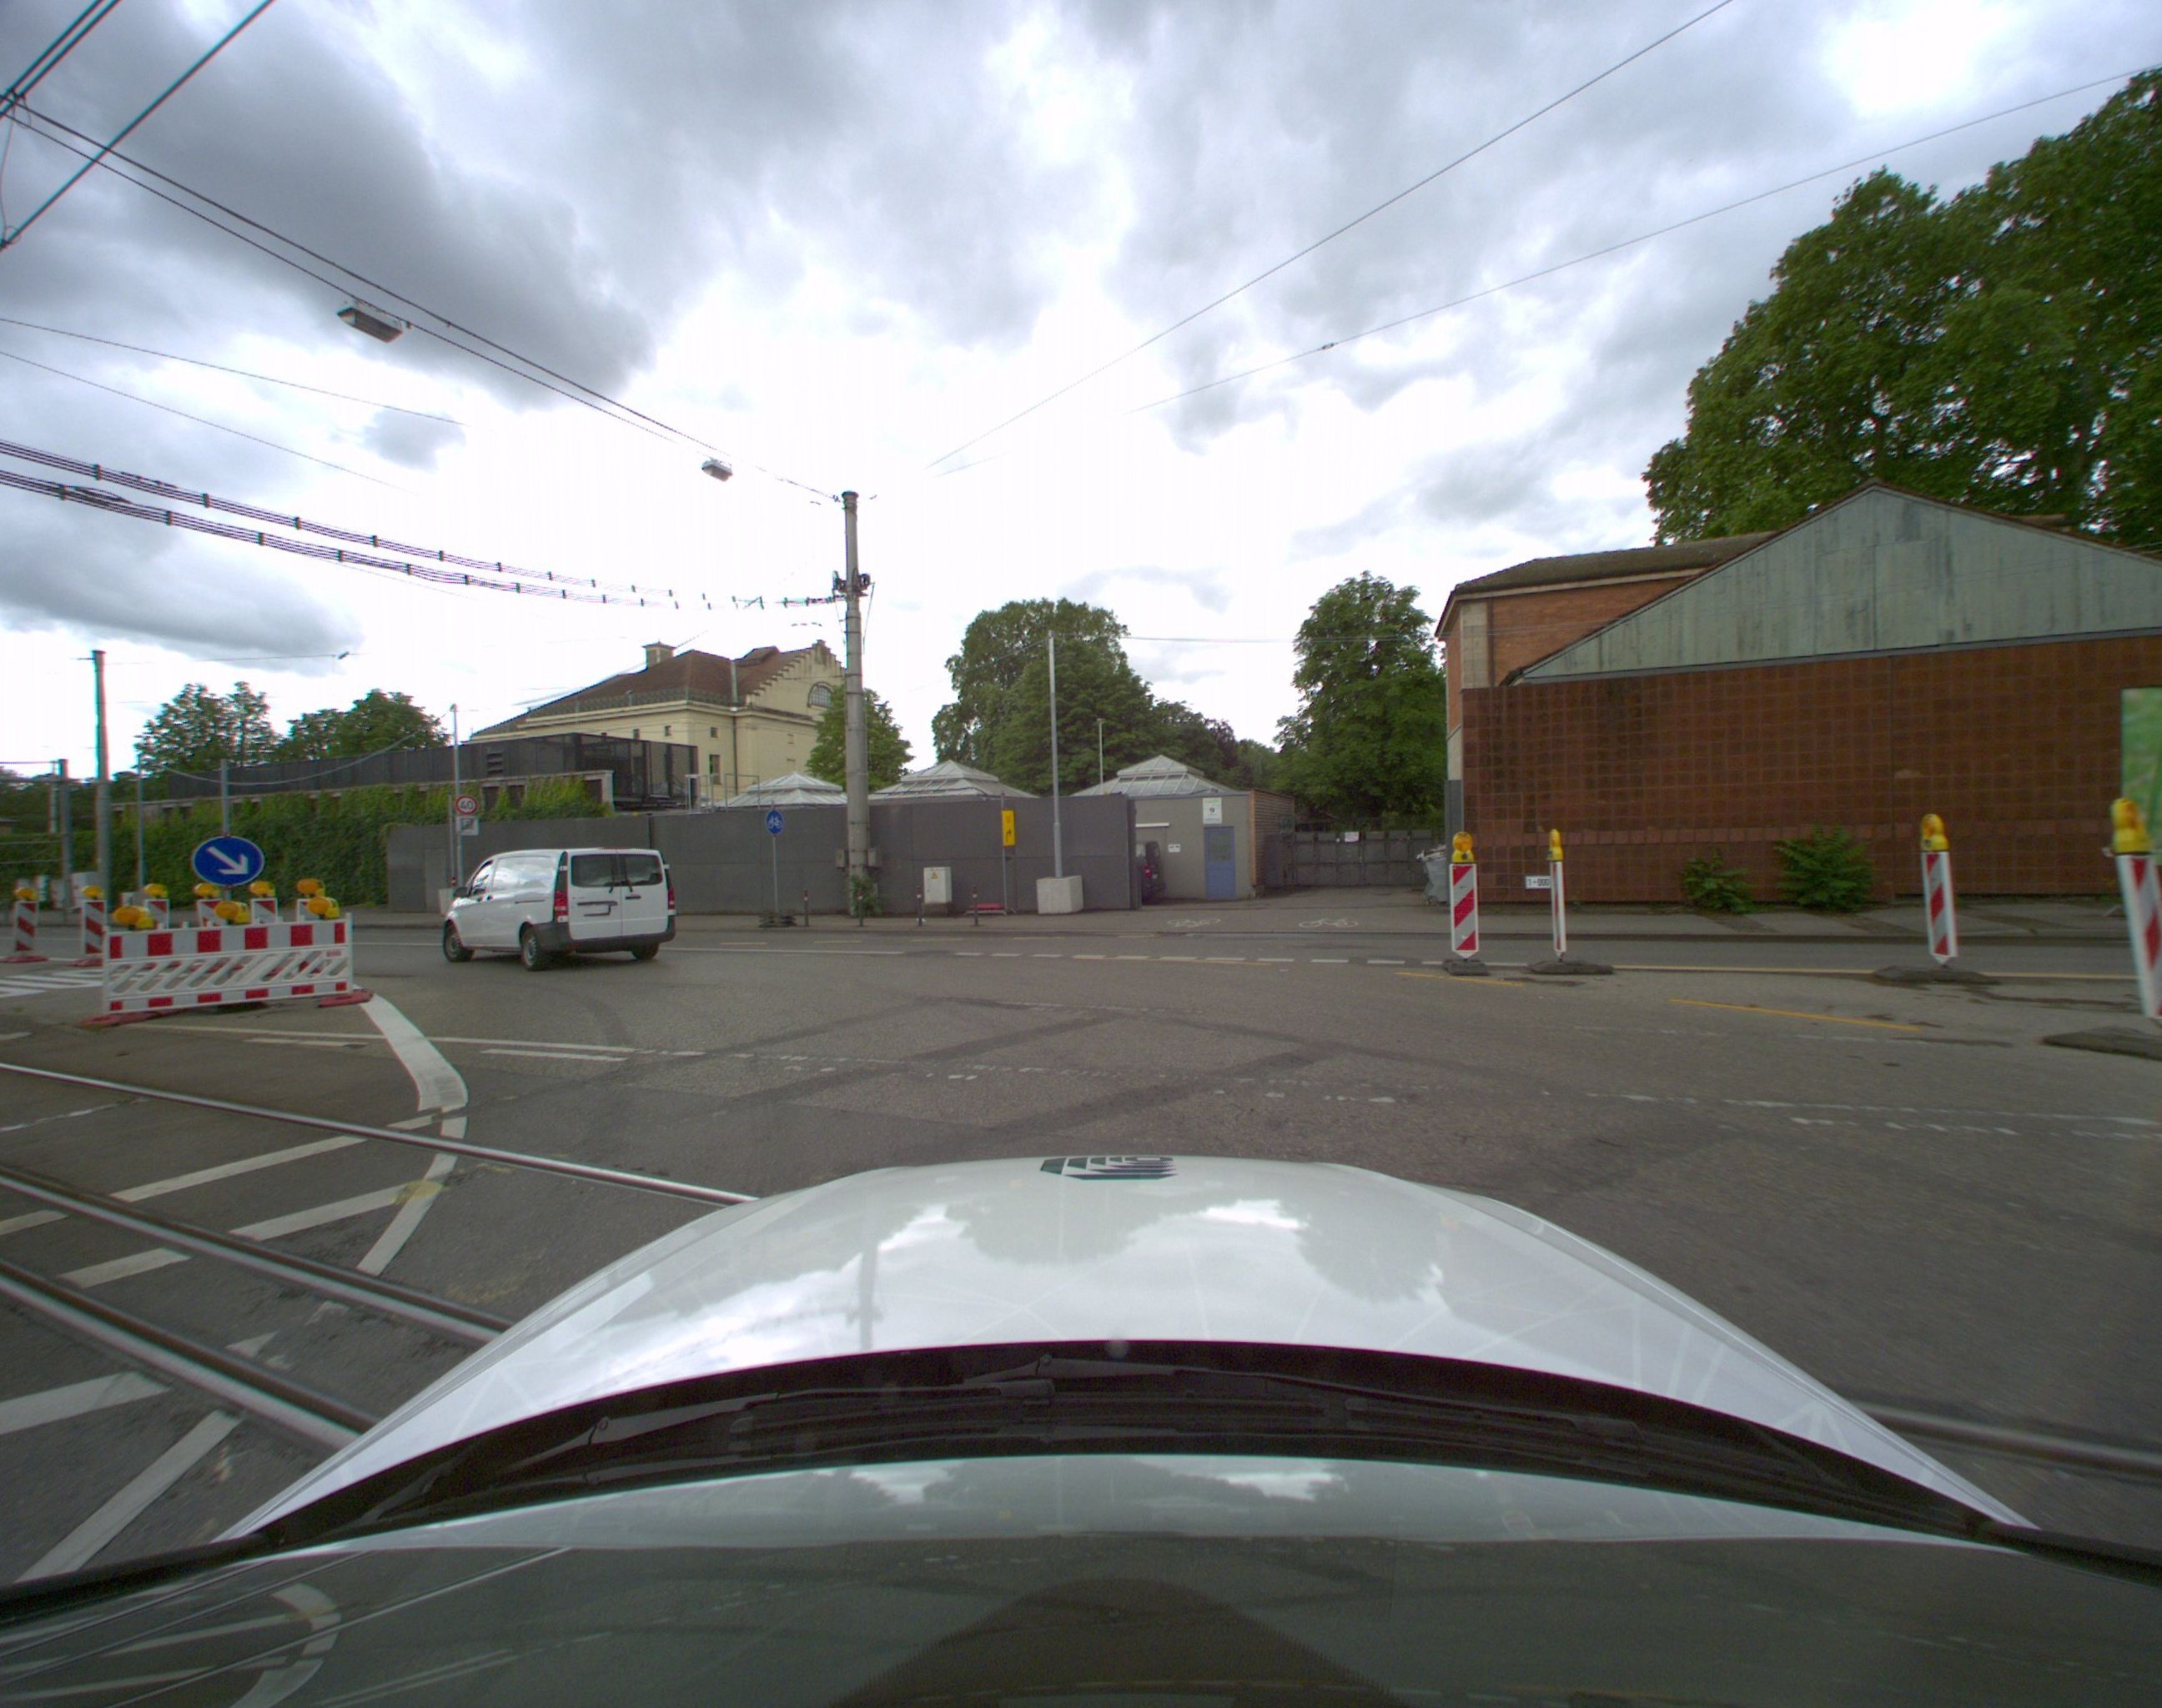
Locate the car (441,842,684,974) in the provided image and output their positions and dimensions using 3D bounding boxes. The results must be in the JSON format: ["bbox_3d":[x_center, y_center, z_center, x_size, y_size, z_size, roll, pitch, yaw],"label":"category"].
[{"bbox_3d":[-8.955,0.826,13.921,4.640,1.901,1.936,-2,-1,37],"label":"car"}]

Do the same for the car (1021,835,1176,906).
[{"bbox_3d":[0.580,0.511,25.794,4.407,2.084,2.115,-1,0,20],"label":"car"}]

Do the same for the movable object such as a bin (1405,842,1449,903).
[{"bbox_3d":[7.900,0.410,18.616,0.840,1.340,0.805,-2,0,22],"label":"movable object such as a bin"}]
